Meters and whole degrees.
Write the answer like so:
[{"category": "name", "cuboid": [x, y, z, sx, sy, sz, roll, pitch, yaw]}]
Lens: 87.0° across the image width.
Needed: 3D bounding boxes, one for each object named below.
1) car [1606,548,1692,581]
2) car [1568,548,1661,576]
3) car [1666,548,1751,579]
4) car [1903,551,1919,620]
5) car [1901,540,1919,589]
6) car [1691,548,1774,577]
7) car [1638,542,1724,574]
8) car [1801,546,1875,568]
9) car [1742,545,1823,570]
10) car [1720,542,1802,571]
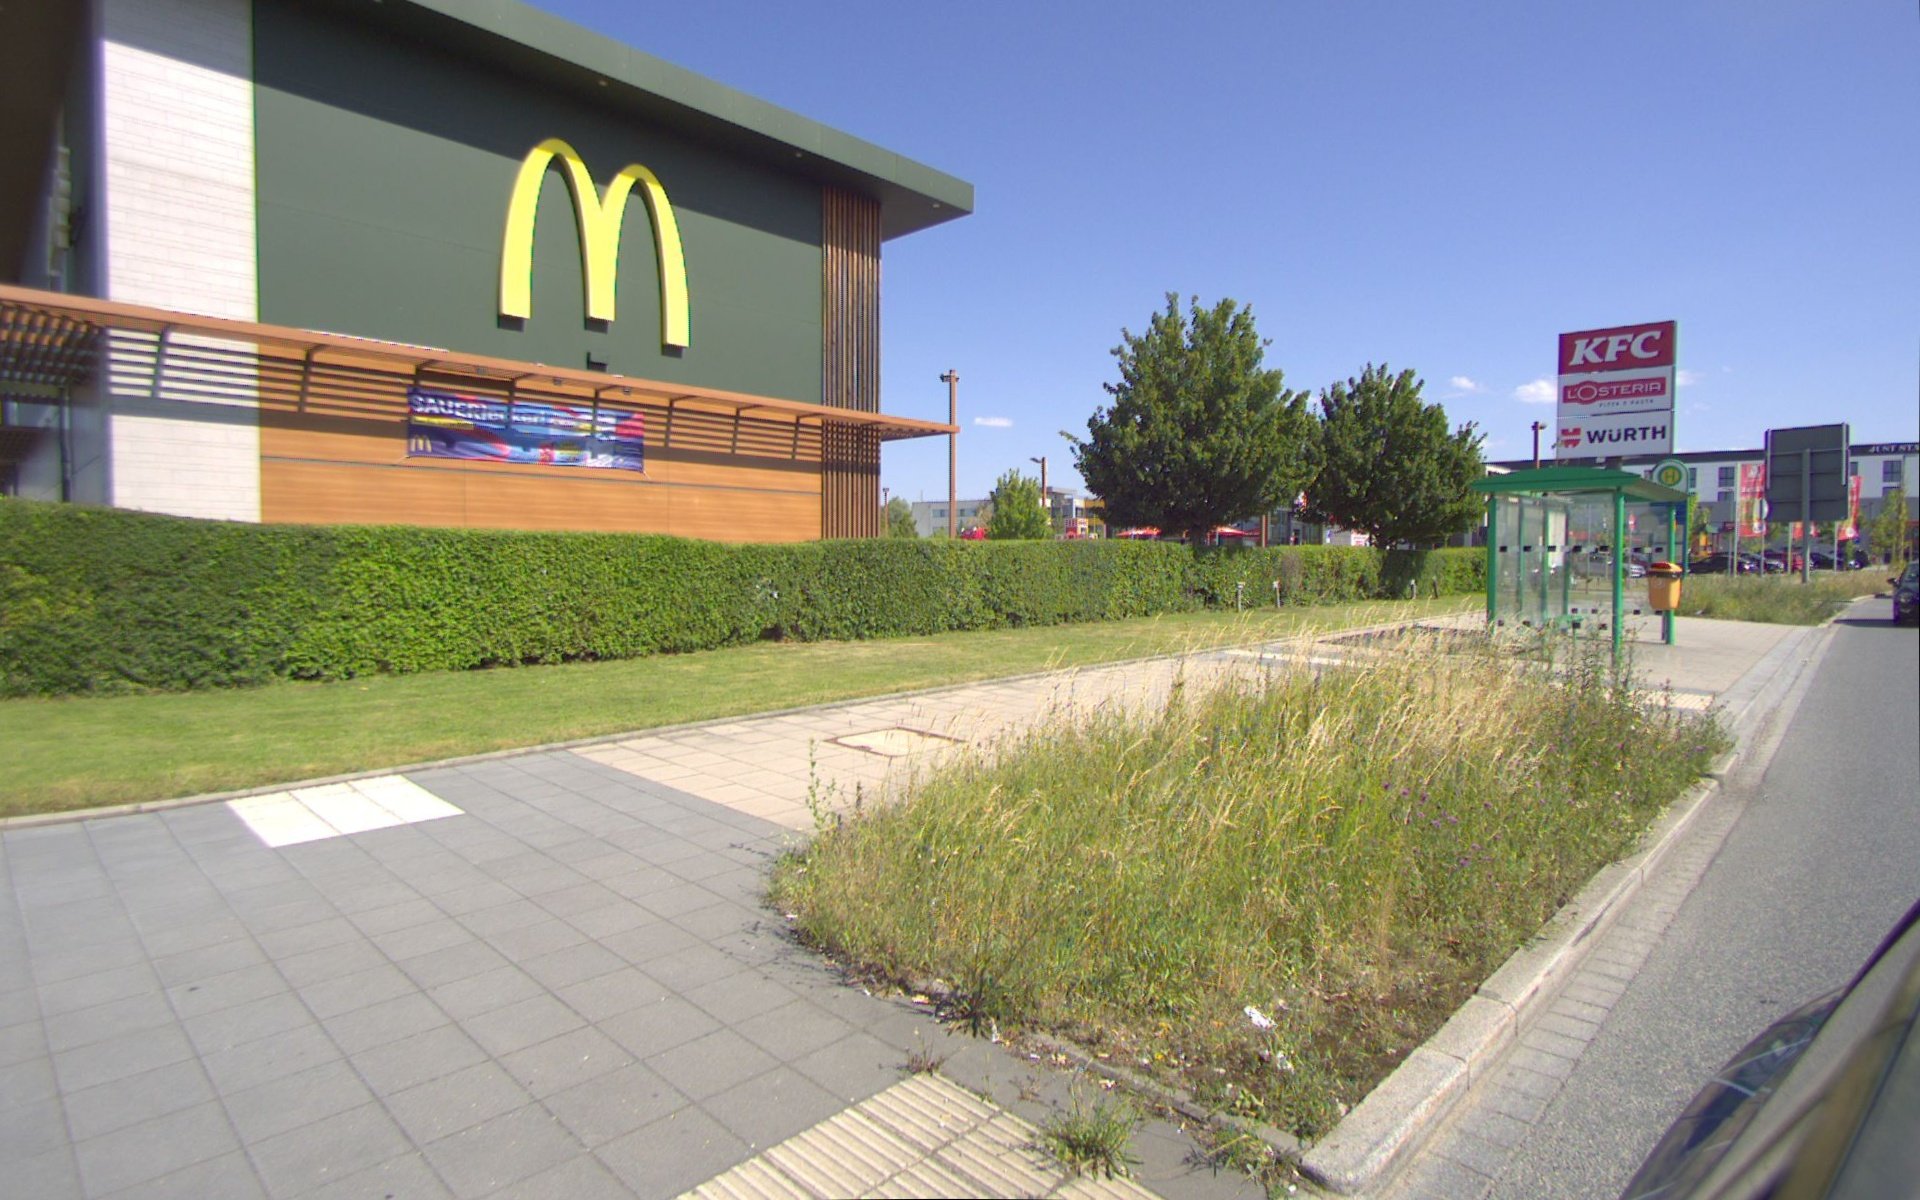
[{"category": "car", "cuboid": [44.517, -2.317, 65.439, 1.895, 2.038, 4.192, -1, 3, -31]}, {"category": "car", "cuboid": [40.629, -2.392, 62.898, 1.899, 1.673, 4.440, -2, 3, -39]}, {"category": "car", "cuboid": [50.549, -2.484, 68.383, 1.895, 2.038, 4.191, -1, 3, -31]}, {"category": "car", "cuboid": [22.343, -0.347, 22.478, 3.935, 1.486, 1.858, -2, 2, -44]}, {"category": "car", "cuboid": [35.480, -1.326, 36.624, 3.935, 1.709, 1.858, -3, 1, -44]}, {"category": "car", "cuboid": [52.940, -2.591, 69.423, 1.767, 1.880, 4.194, -1, 2, -28]}, {"category": "car", "cuboid": [47.416, -2.742, 66.660, 1.895, 2.038, 4.191, -1, 3, -32]}, {"category": "car", "cuboid": [65.994, -3.239, 76.126, 1.723, 1.639, 3.828, -1, 3, -32]}, {"category": "car", "cuboid": [59.705, -3.087, 73.508, 1.787, 1.783, 4.194, -1, 3, -28]}, {"category": "car", "cuboid": [57.109, -3.091, 72.199, 1.896, 2.038, 4.190, -1, 3, -33]}]
